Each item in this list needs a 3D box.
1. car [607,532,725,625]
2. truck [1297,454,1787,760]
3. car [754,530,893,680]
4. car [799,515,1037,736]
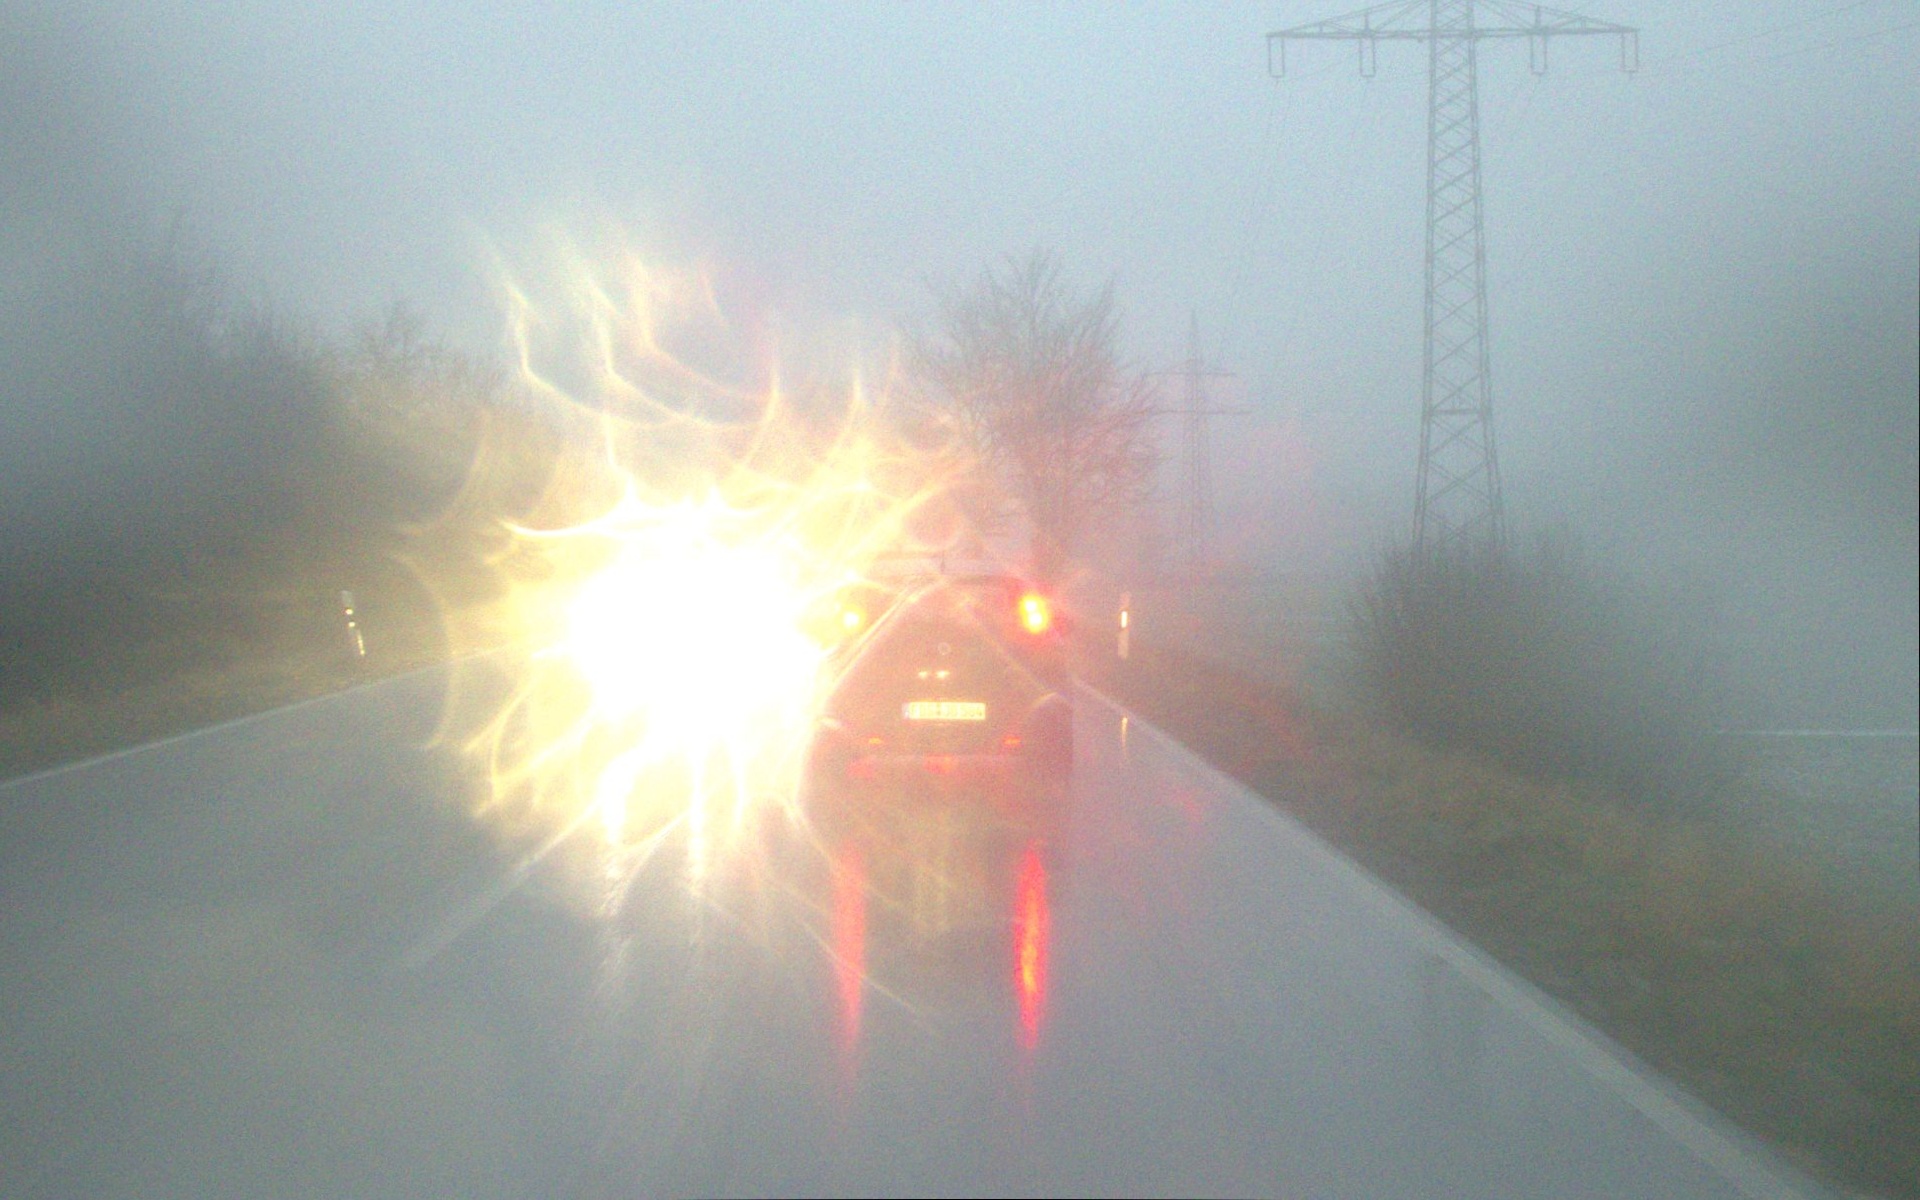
[{"bbox_3d":[-4.952,-0.396,58.314,1.688,1.502,4.413,0,1,-1],"label":"car"},{"bbox_3d":[5.449,-0.011,34.450,2.503,2.562,10.807,1,1,-3],"label":"truck"},{"bbox_3d":[-1.893,0.041,48.588,1.852,2.007,4.000,1,1,-1],"label":"car"},{"bbox_3d":[-0.297,0.144,23.506,1.500,1.393,3.200,1,1,-1],"label":"car"}]
